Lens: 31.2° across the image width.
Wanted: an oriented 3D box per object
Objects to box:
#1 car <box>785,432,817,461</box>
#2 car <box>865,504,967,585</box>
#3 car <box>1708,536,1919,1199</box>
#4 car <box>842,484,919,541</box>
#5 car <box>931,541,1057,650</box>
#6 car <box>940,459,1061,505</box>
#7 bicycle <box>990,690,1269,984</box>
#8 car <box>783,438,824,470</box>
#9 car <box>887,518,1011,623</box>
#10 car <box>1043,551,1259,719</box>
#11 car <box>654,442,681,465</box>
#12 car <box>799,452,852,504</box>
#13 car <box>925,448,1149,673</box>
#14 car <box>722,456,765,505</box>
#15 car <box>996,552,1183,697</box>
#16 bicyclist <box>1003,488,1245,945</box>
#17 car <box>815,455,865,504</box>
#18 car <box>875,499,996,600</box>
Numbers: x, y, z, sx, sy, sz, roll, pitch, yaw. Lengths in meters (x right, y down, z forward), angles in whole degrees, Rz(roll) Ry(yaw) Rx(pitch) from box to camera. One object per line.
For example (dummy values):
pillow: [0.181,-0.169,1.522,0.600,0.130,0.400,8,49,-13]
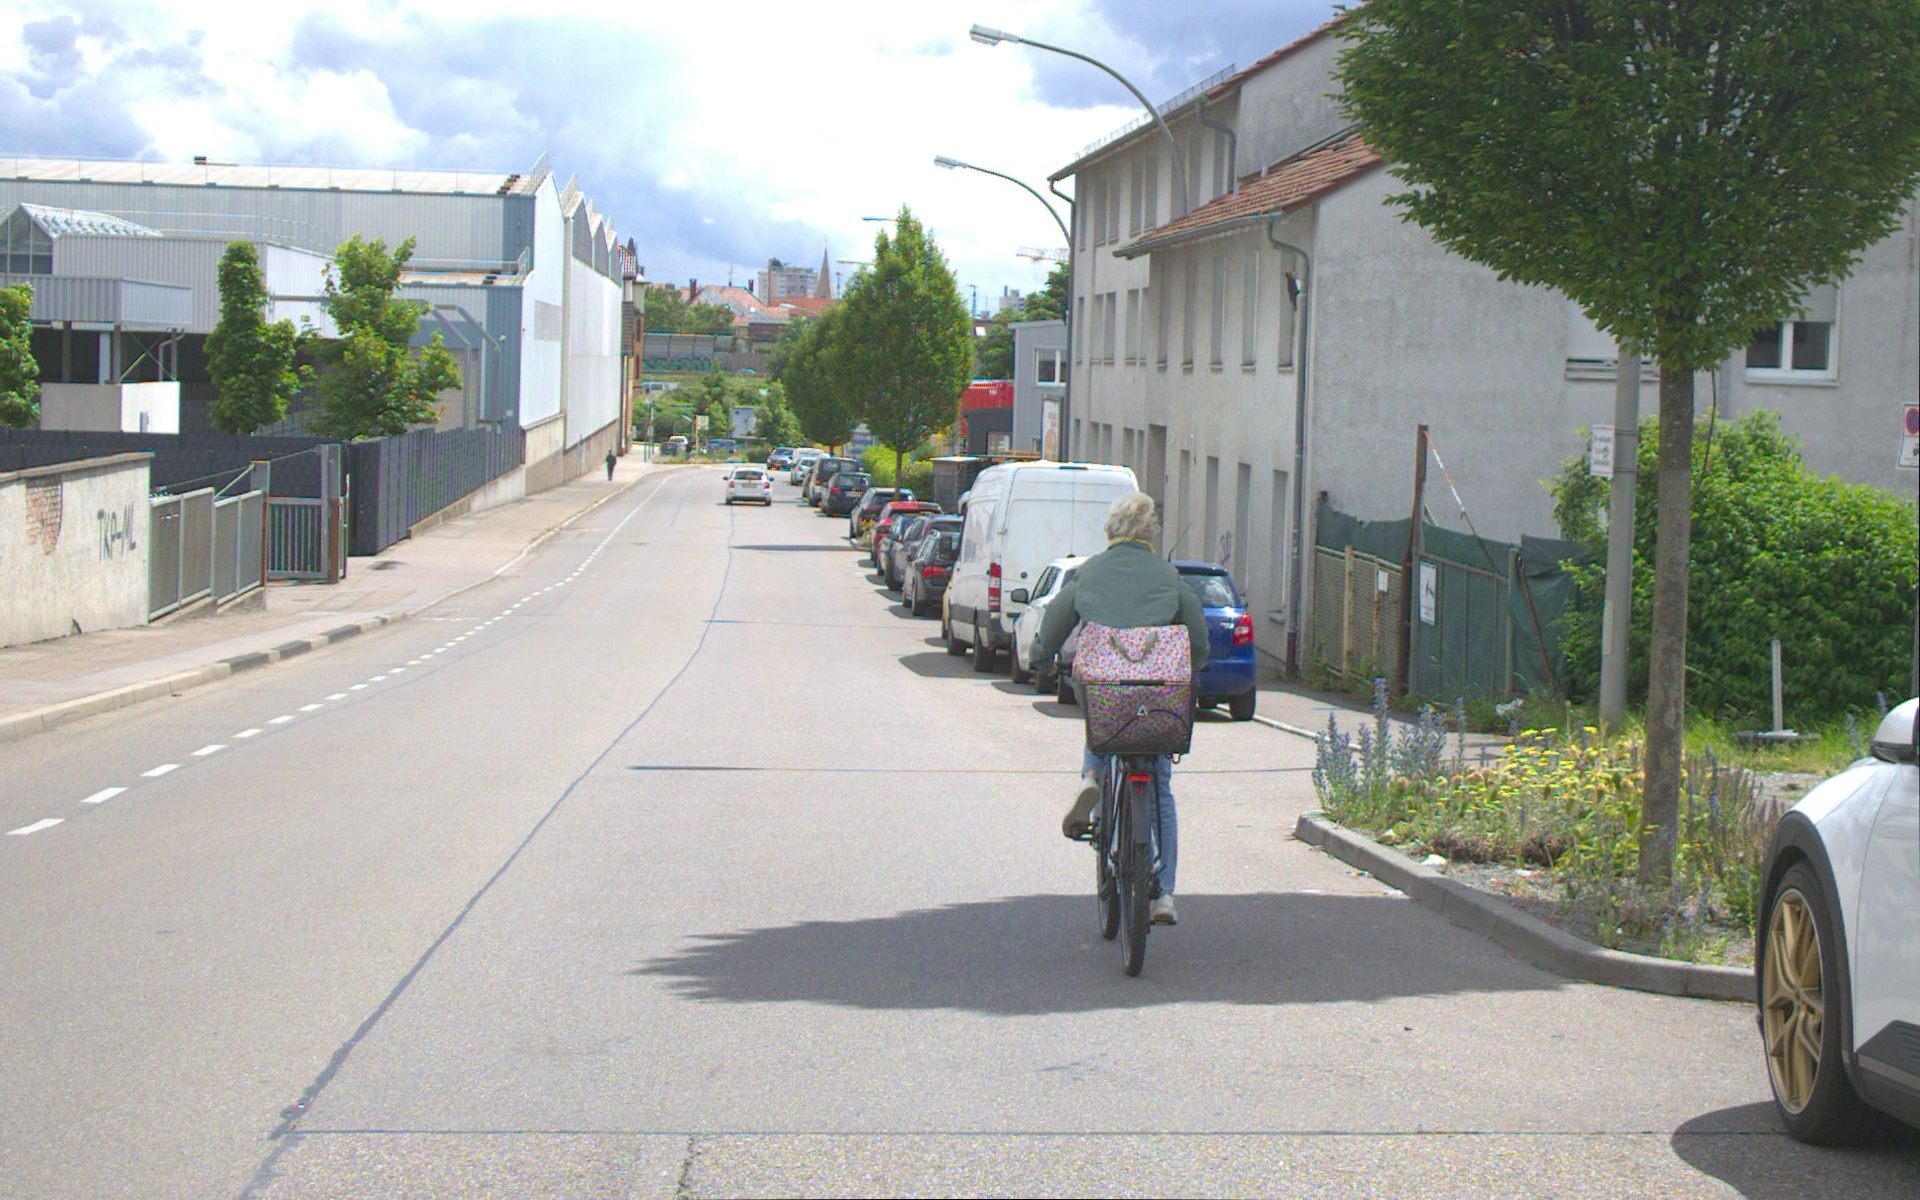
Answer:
car: [-8.821,-8.526,191.090,1.701,1.522,3.739,2,2,-2]
car: [-0.957,-1.185,72.226,1.734,1.418,4.862,2,3,-5]
car: [3.025,0.643,7.174,1.842,1.560,4.466,0,1,-2]
car: [-2.222,-2.431,95.018,1.791,1.460,4.709,2,2,-5]
car: [0.465,-0.094,51.007,1.592,1.442,3.791,2,2,-3]
car: [1.337,-3.957,115.323,1.720,1.457,4.073,-4,4,-42]
bicycle: [0.588,0.832,12.599,0.740,0.972,1.732,2,-1,-6]
car: [-8.222,-7.653,180.272,1.701,1.522,3.739,4,2,-8]
car: [-0.247,-0.564,61.093,1.704,1.504,5.089,4,3,-5]
car: [1.819,0.297,33.845,1.566,1.505,4.095,2,1,-4]
car: [-20.997,-10.518,246.603,1.852,1.481,4.001,2,1,-4]
car: [-5.331,-4.844,136.253,1.869,1.983,5.145,2,2,-4]
car: [0.893,-0.524,44.790,2.033,2.632,7.284,2,1,-5]
car: [-8.402,-4.626,133.179,1.566,1.780,3.606,2,1,-4]
car: [1.406,0.238,38.678,1.592,1.505,3.791,2,1,-5]
bicyclist: [0.592,0.414,12.664,0.739,1.621,0.732,2,1,-6]
car: [-4.238,-4.267,121.521,1.679,1.632,4.123,2,2,-2]
car: [-0.515,-1.004,66.658,1.676,1.632,4.798,3,3,-8]
